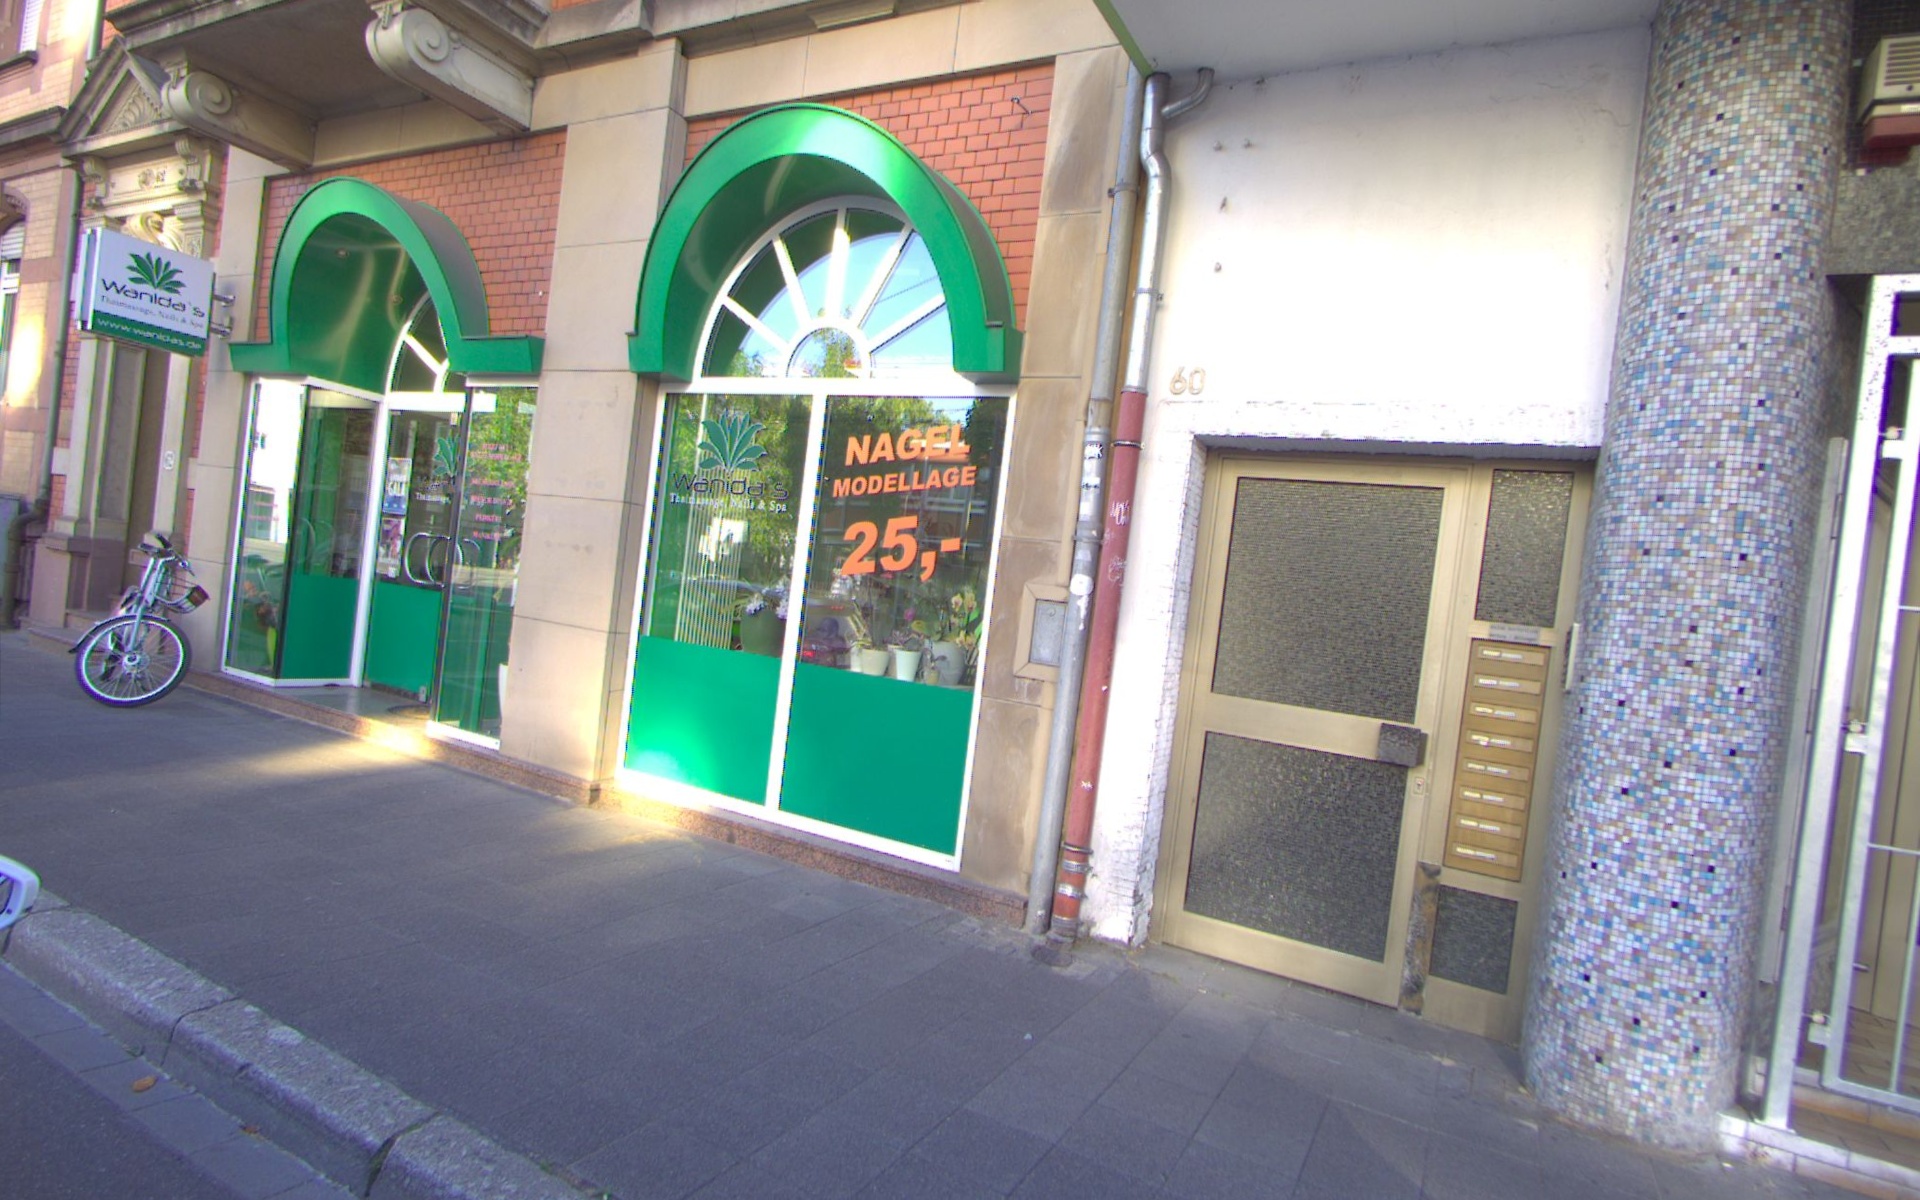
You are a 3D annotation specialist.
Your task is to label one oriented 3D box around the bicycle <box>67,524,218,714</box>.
[{"bbox_3d":[-5.929,0.105,7.261,0.712,1.167,1.635,4,2,-42],"label":"bicycle"}]
